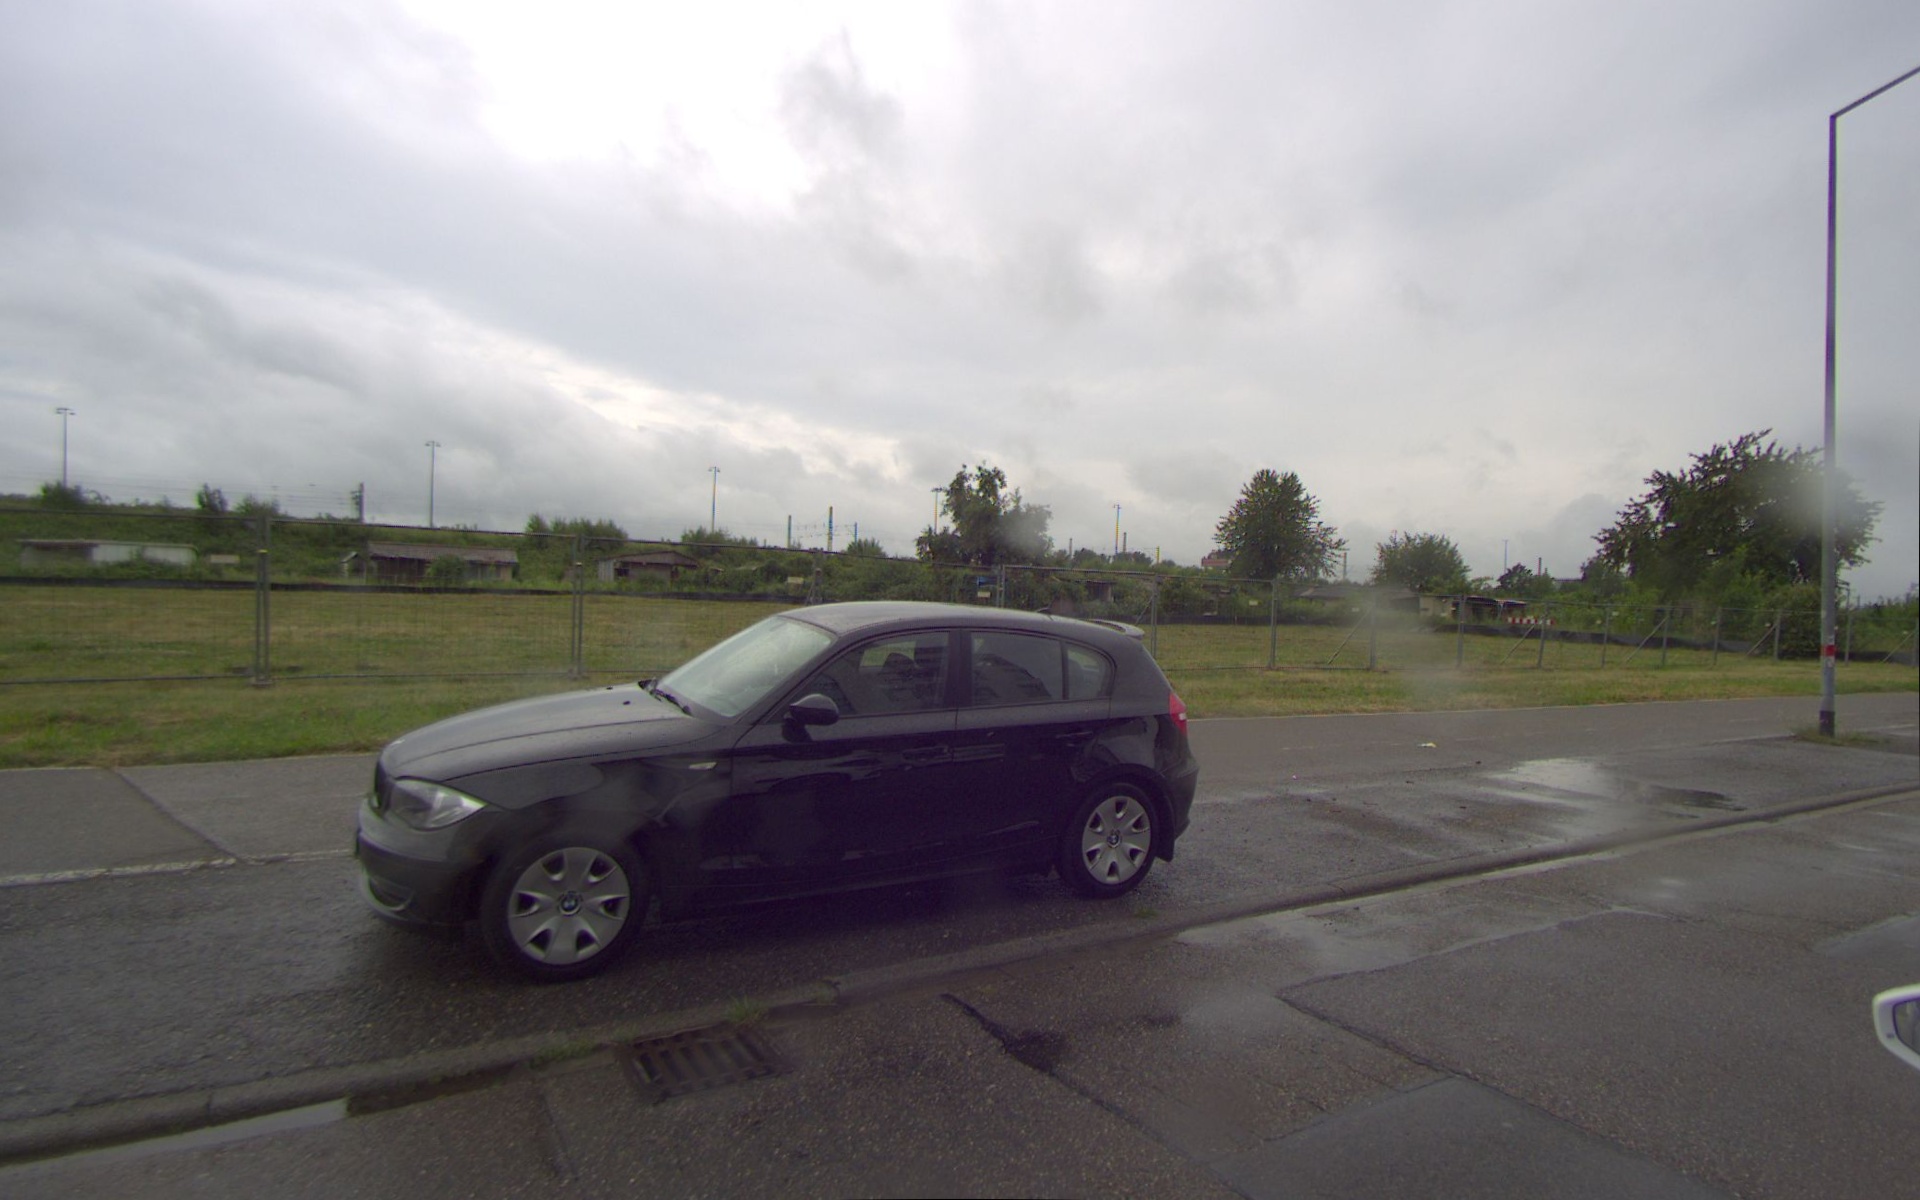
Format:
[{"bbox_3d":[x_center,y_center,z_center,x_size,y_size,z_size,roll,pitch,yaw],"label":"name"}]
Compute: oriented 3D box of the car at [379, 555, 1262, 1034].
[{"bbox_3d":[-0.623,0.680,5.223,4.104,1.582,1.838,2,3,-30],"label":"car"}]
